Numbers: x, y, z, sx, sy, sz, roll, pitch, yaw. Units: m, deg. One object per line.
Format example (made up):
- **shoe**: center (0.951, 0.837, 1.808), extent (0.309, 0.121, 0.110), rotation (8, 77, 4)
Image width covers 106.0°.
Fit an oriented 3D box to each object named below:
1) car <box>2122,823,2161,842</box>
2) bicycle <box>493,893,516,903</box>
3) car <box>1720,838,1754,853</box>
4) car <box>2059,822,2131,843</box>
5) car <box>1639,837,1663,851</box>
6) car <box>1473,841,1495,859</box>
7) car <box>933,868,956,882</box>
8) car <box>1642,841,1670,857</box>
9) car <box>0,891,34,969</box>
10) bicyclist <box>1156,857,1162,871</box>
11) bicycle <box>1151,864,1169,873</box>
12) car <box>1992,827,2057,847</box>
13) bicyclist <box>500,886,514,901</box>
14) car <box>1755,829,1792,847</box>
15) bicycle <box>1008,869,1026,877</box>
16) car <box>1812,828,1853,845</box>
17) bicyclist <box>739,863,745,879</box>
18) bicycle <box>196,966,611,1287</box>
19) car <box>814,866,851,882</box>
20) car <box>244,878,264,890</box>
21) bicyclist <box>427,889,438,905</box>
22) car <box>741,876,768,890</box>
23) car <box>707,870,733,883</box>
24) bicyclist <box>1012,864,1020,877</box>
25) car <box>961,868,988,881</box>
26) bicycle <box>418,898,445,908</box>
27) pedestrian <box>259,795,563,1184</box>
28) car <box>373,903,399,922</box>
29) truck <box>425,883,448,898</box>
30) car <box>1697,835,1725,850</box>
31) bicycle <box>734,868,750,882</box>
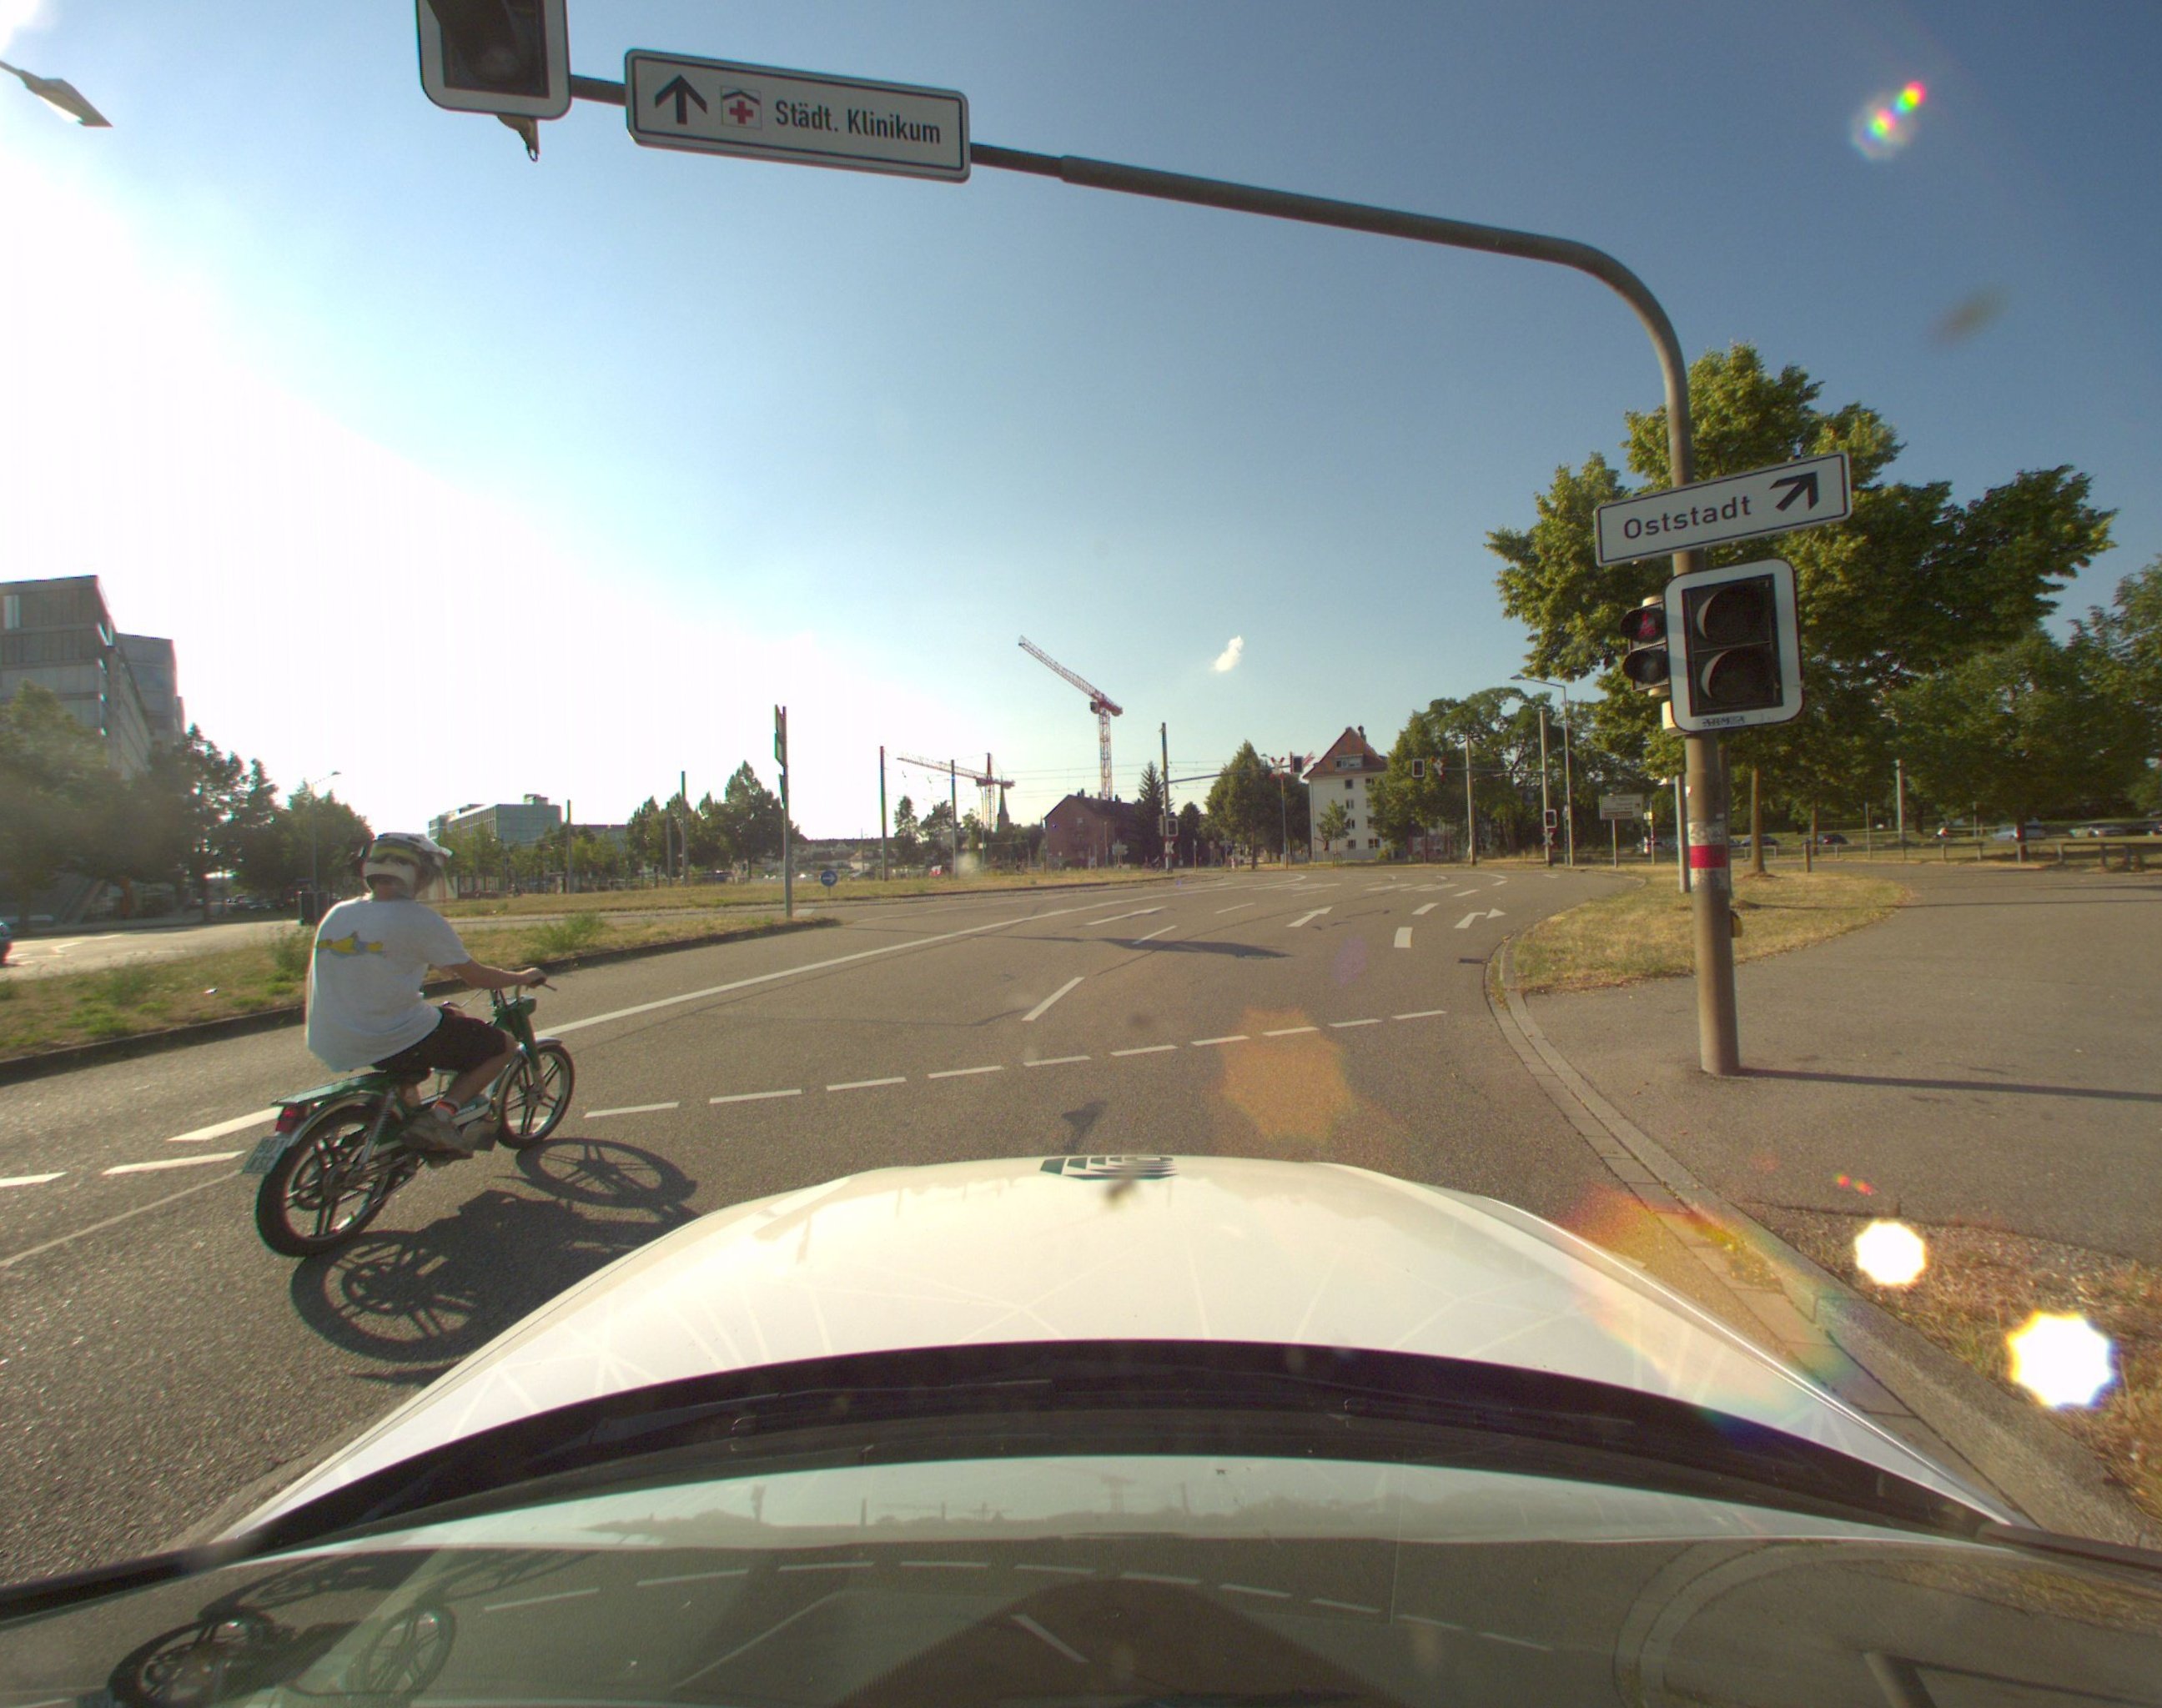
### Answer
- **car**: center (82.255, -1.658, 62.065), extent (1.805, 1.403, 4.022), rotation (-3, -1, 24)
- **bicycle**: center (-53.066, 4.067, 74.987), extent (0.538, 0.860, 1.629), rotation (-3, -1, 42)
- **car**: center (58.490, -0.780, 72.708), extent (1.586, 1.221, 3.992), rotation (-3, -1, 28)
- **car**: center (79.522, -1.676, 63.936), extent (1.805, 1.403, 4.022), rotation (-3, -1, 24)
- **car**: center (60.322, -1.067, 86.246), extent (1.586, 1.402, 3.992), rotation (-3, -1, 28)
- **car**: center (39.711, -0.383, 80.251), extent (1.754, 1.618, 3.992), rotation (-3, -1, 28)
- **car**: center (-19.066, 2.984, 113.704), extent (1.931, 1.854, 3.961), rotation (-2, -1, -30)
- **car**: center (53.160, -0.426, 75.355), extent (1.586, 1.402, 3.992), rotation (-3, -1, 28)
- **car**: center (-25.379, 1.734, 17.856), extent (4.150, 1.673, 1.785), rotation (-2, 0, 21)
- **bicyclist**: center (8.955, 1.158, 93.691), extent (0.621, 1.511, 0.418), rotation (-2, -1, -6)
- **bicycle**: center (9.104, 1.632, 93.700), extent (1.985, 0.918, 0.429), rotation (-2, -1, -6)
- **car**: center (75.508, -1.344, 65.252), extent (1.805, 1.403, 4.022), rotation (-3, -1, 24)
- **bicyclist**: center (-52.946, 3.647, 75.142), extent (0.963, 1.357, 0.685), rotation (-2, -1, -45)
- **car**: center (60.338, -1.368, 71.035), extent (1.586, 1.402, 3.992), rotation (-3, -1, 28)
- **bicycle**: center (-7.374, 2.196, 94.000), extent (1.985, 0.825, 0.429), rotation (-2, -1, -6)
- **car**: center (64.180, -1.469, 69.626), extent (1.586, 1.310, 3.992), rotation (-3, -1, 28)
- **bicyclist**: center (-37.102, 1.843, 89.113), extent (0.609, 1.672, 0.474), rotation (-2, -2, -21)
- **bicycle**: center (-2.940, 1.092, 3.824), extent (0.476, 0.876, 1.853), rotation (-2, -1, -4)
- **car**: center (-30.657, 2.450, 100.461), extent (4.015, 1.816, 1.979), rotation (-2, -1, -33)
- **car**: center (-115.381, 4.193, 113.641), extent (3.949, 1.556, 1.800), rotation (-1, -1, 43)
- **bicyclist**: center (-54.455, 3.637, 68.379), extent (0.512, 1.325, 0.658), rotation (-3, -1, 43)
- **car**: center (-51.458, 4.545, 128.315), extent (3.948, 2.013, 2.013), rotation (-3, -1, 33)
- **car**: center (-58.915, 3.713, 132.776), extent (3.948, 2.013, 2.013), rotation (-3, -1, 33)
- **bicyclist**: center (-7.499, 1.890, 94.020), extent (0.896, 1.396, 0.525), rotation (-2, -1, -6)
- **car**: center (-16.996, 3.271, 129.692), extent (3.778, 2.014, 1.680), rotation (-3, -1, 18)
- **bicycle**: center (-54.494, 4.124, 68.324), extent (0.474, 0.744, 1.732), rotation (-3, -1, 43)
- **pedestrian**: center (-2.949, 0.538, 3.687), extent (0.655, 1.519, 0.852), rotation (-2, -1, -6)
- **car**: center (-61.842, 5.193, 72.450), extent (1.493, 1.475, 3.259), rotation (-2, -1, -44)
- **truck**: center (-152.479, 8.696, 192.699), extent (7.083, 3.231, 3.156), rotation (-3, -1, 43)
- **car**: center (64.054, -1.129, 82.867), extent (1.586, 1.402, 3.992), rotation (-3, -1, 28)
- **bicycle**: center (-37.046, 2.252, 89.114), extent (1.545, 1.473, 0.476), rotation (-2, -1, -22)
